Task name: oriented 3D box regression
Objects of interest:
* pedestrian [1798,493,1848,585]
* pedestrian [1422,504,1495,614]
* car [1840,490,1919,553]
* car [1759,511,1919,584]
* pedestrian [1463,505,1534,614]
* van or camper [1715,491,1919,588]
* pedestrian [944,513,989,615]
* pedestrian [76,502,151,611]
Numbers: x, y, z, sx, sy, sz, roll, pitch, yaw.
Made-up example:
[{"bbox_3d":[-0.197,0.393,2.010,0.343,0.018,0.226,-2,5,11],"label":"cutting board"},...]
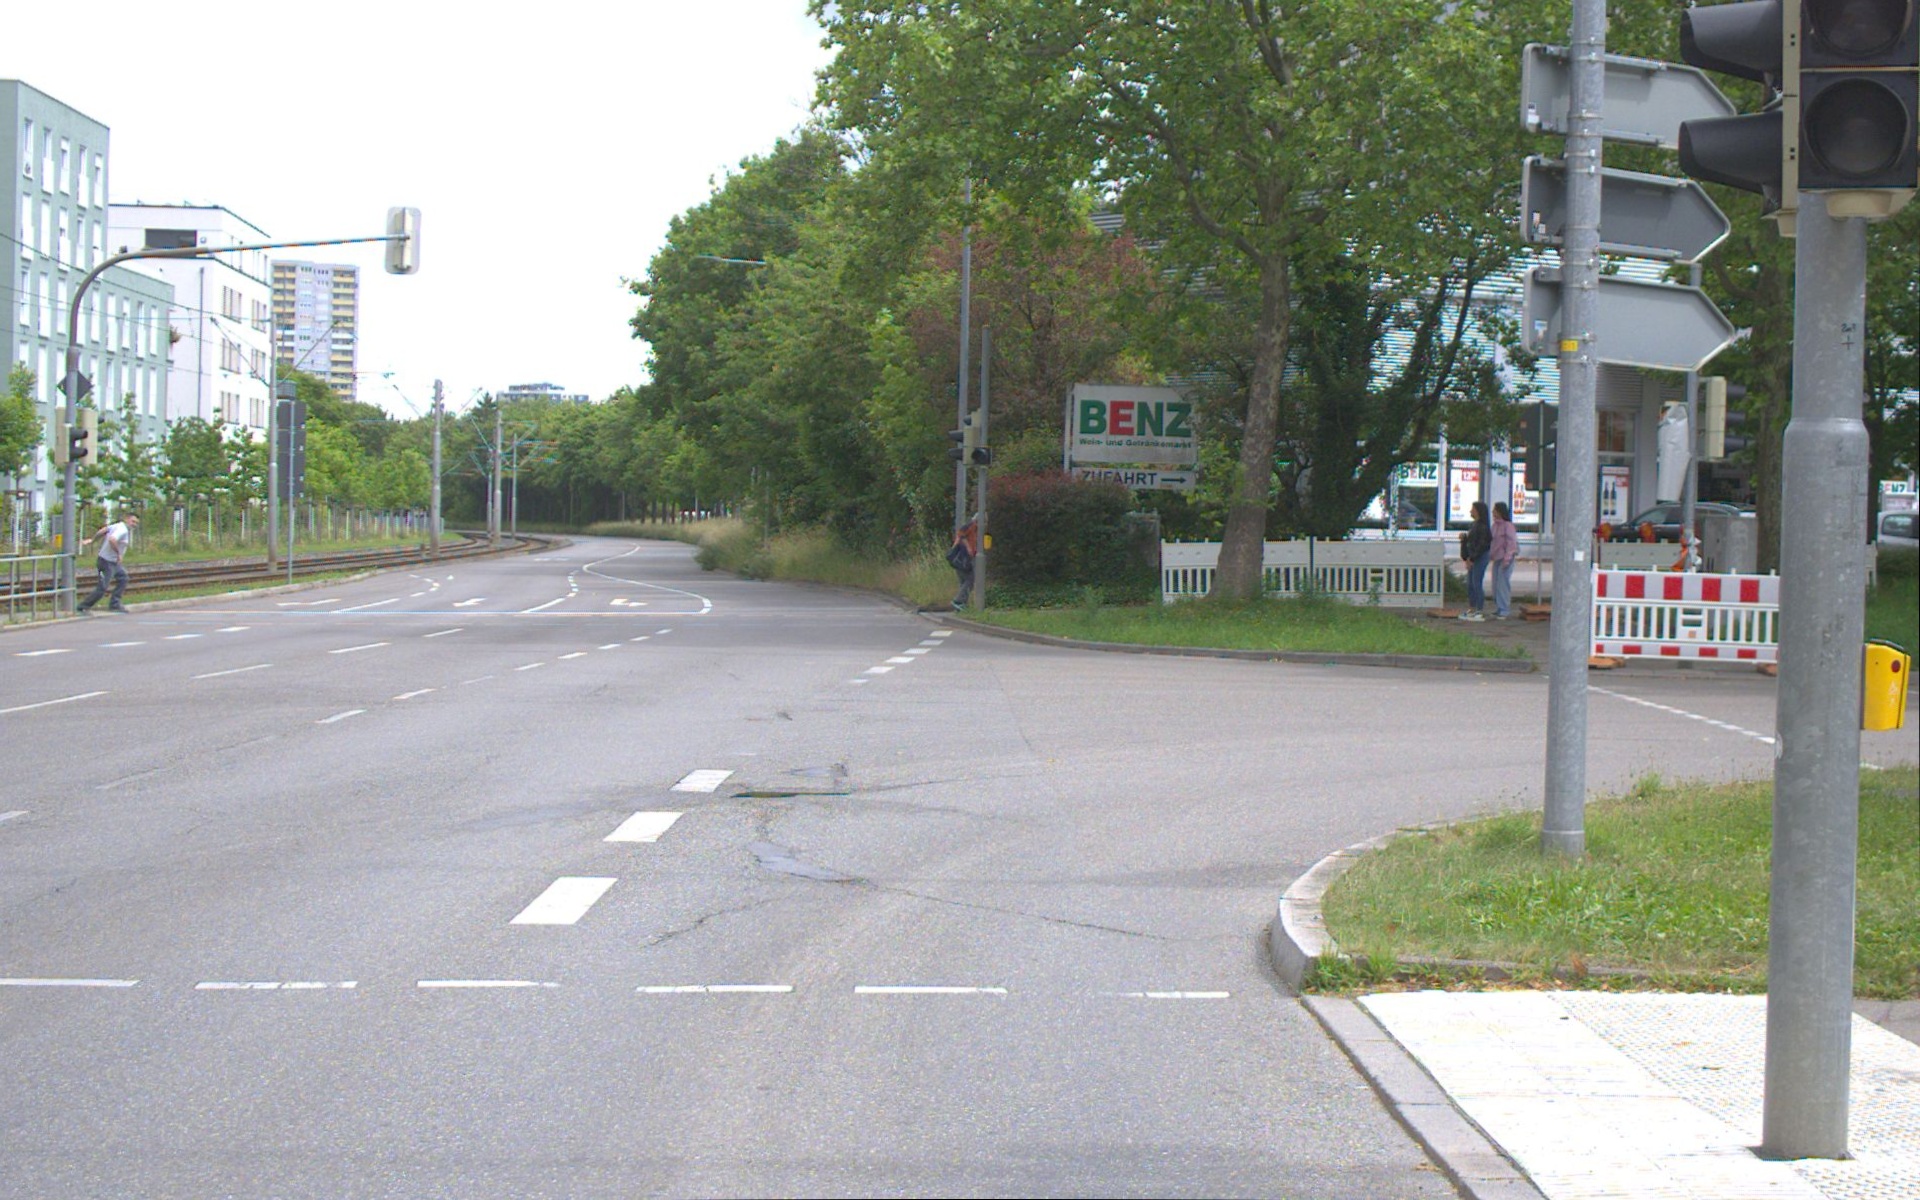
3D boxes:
[{"bbox_3d":[18.885,-1.329,75.216,0.804,1.995,0.853,1,0,-5],"label":"pedestrian"},{"bbox_3d":[6.797,-0.555,46.884,0.717,1.484,0.700,1,0,-21],"label":"pedestrian"},{"bbox_3d":[21.825,-1.783,78.221,1.480,1.399,3.409,1,1,-31],"label":"car"},{"bbox_3d":[18.247,-1.071,70.343,3.396,1.440,1.485,1,0,-18],"label":"car"},{"bbox_3d":[7.418,-0.556,47.381,0.685,1.484,0.700,1,0,-24],"label":"pedestrian"},{"bbox_3d":[15.668,-1.116,61.999,1.840,1.678,4.001,-1,2,-28],"label":"van or camper"},{"bbox_3d":[0.091,-0.544,51.949,0.653,1.533,0.773,1,0,0],"label":"pedestrian"},{"bbox_3d":[-12.456,-0.639,50.610,0.848,1.581,0.796,1,0,5],"label":"pedestrian"}]
